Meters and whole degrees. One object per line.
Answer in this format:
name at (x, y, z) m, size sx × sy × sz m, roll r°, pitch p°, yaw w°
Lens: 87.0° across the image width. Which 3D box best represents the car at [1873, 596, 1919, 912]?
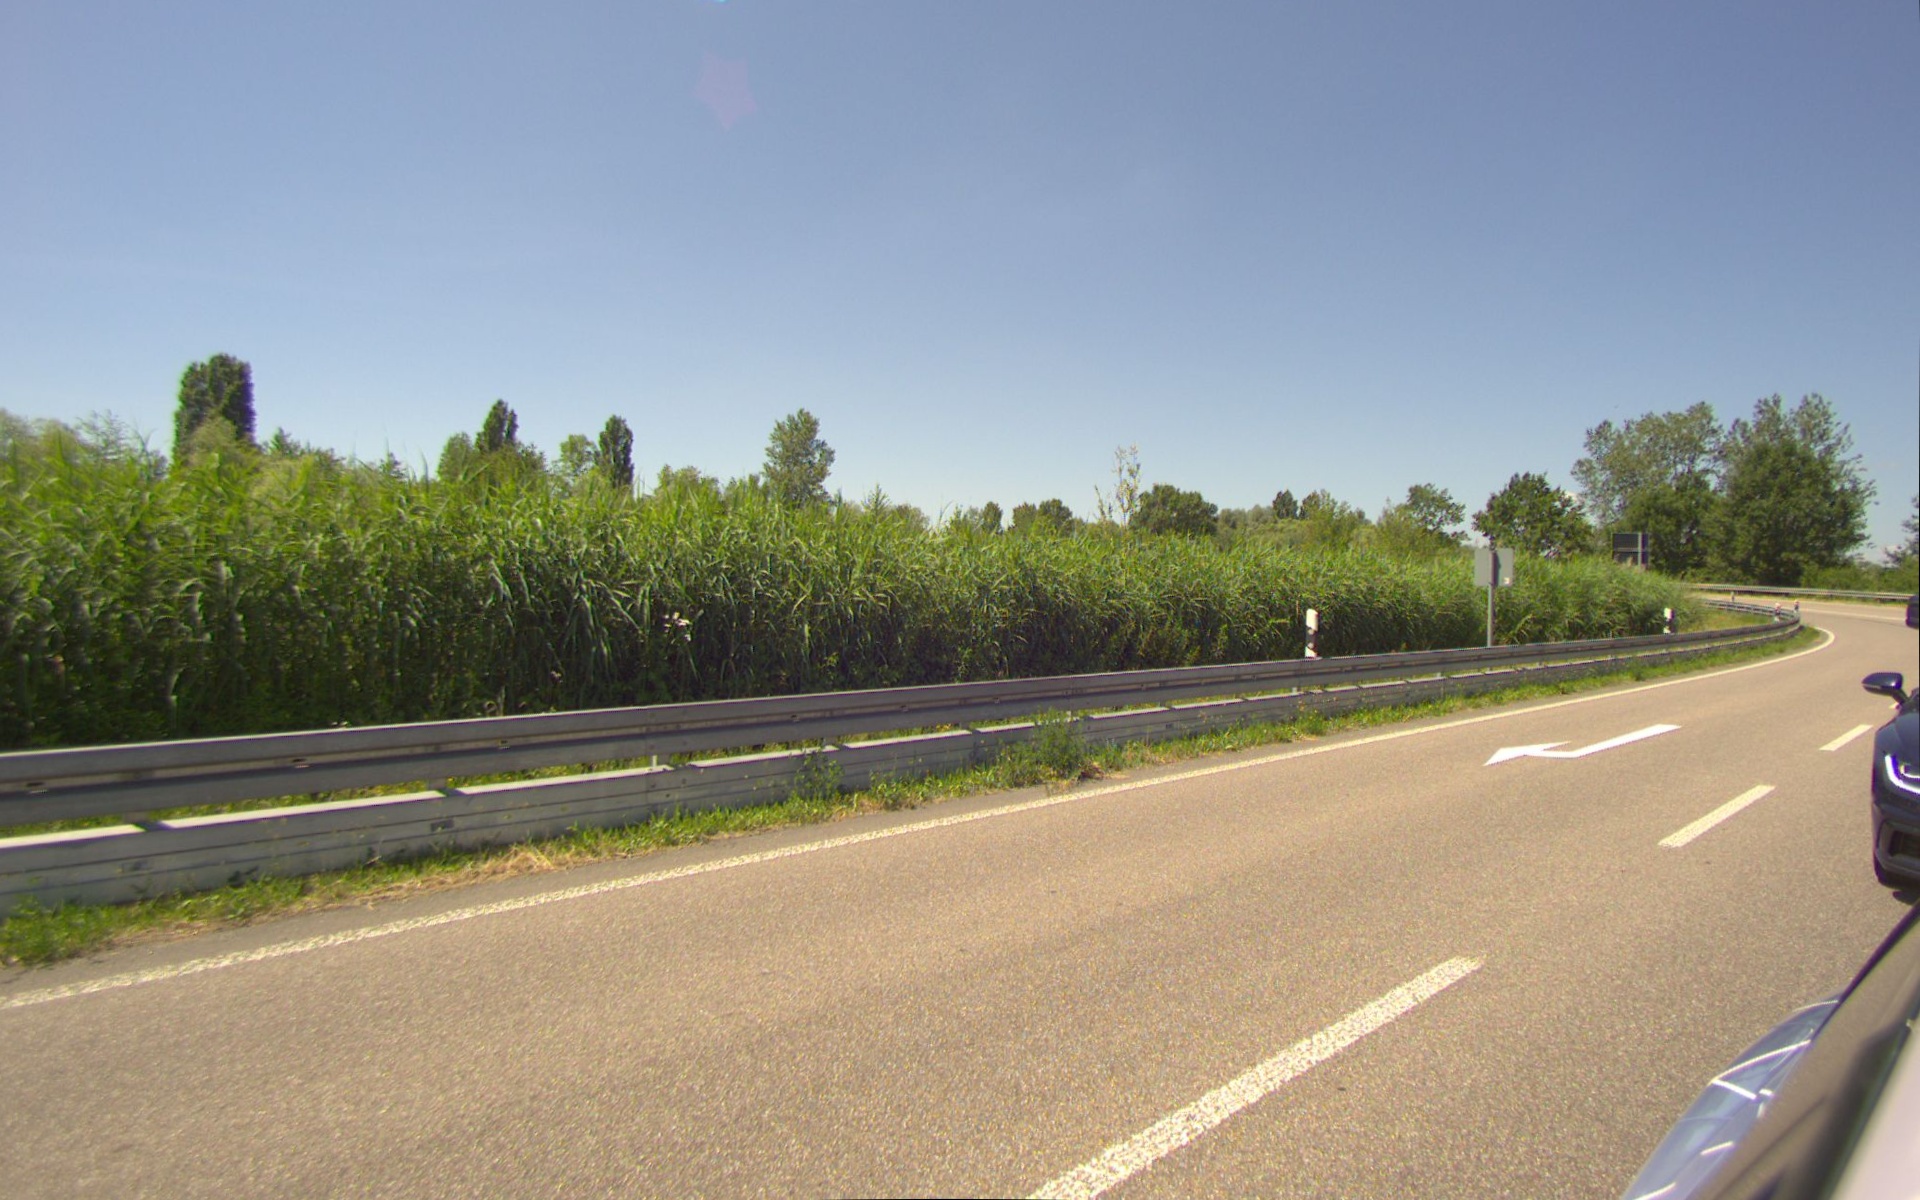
car at (6.330, 0.696, 5.383) m, size 3.931 × 1.427 × 1.759 m, roll -1°, pitch 1°, yaw -41°
